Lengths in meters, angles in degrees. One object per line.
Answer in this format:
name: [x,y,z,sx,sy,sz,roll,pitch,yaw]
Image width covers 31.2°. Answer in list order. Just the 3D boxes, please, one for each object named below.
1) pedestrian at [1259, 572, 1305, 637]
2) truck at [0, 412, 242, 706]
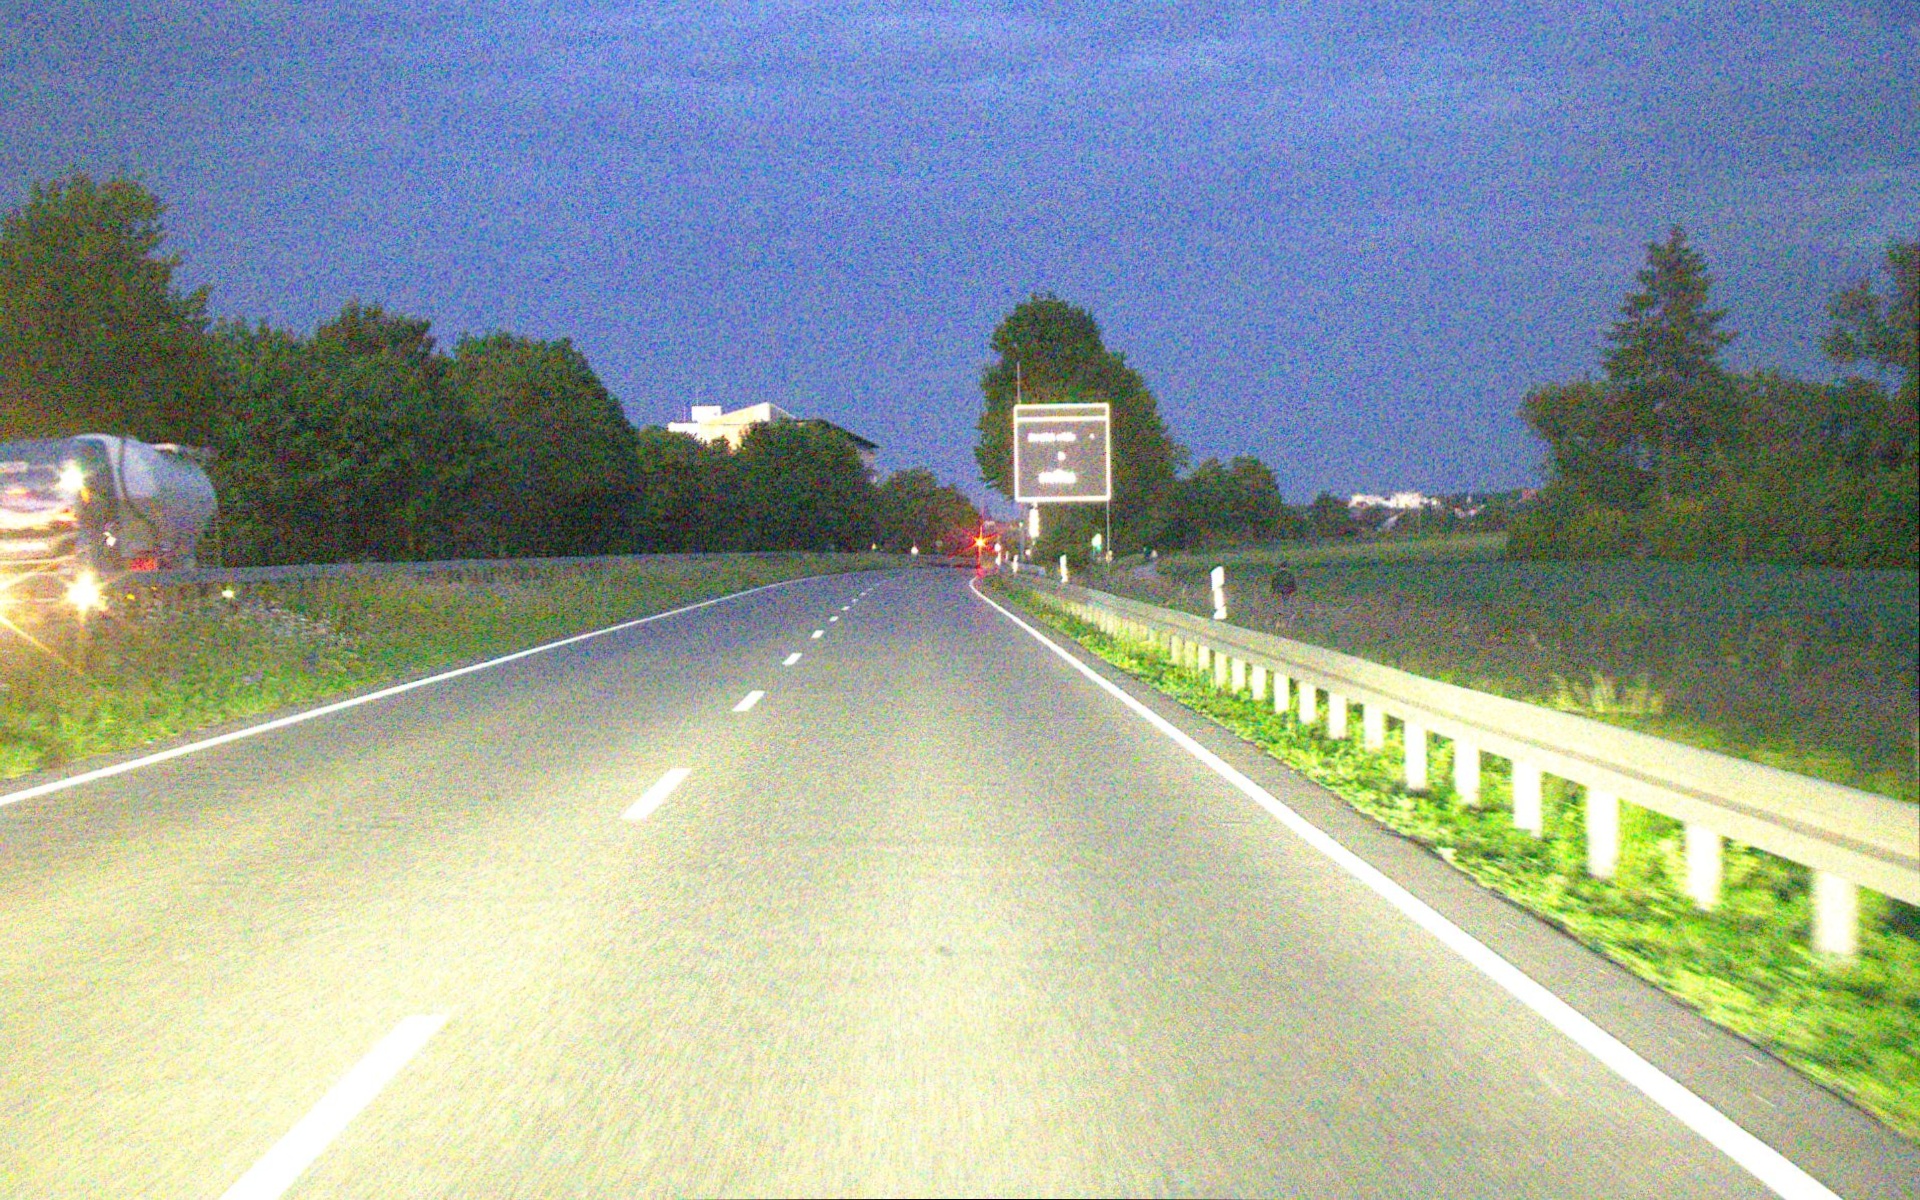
pedestrian: [8.268,0.106,88.319,1.062,1.637,1.118,1,1,0]
truck: [-16.988,-0.836,67.830,3.202,5.238,12.610,0,1,-1]
